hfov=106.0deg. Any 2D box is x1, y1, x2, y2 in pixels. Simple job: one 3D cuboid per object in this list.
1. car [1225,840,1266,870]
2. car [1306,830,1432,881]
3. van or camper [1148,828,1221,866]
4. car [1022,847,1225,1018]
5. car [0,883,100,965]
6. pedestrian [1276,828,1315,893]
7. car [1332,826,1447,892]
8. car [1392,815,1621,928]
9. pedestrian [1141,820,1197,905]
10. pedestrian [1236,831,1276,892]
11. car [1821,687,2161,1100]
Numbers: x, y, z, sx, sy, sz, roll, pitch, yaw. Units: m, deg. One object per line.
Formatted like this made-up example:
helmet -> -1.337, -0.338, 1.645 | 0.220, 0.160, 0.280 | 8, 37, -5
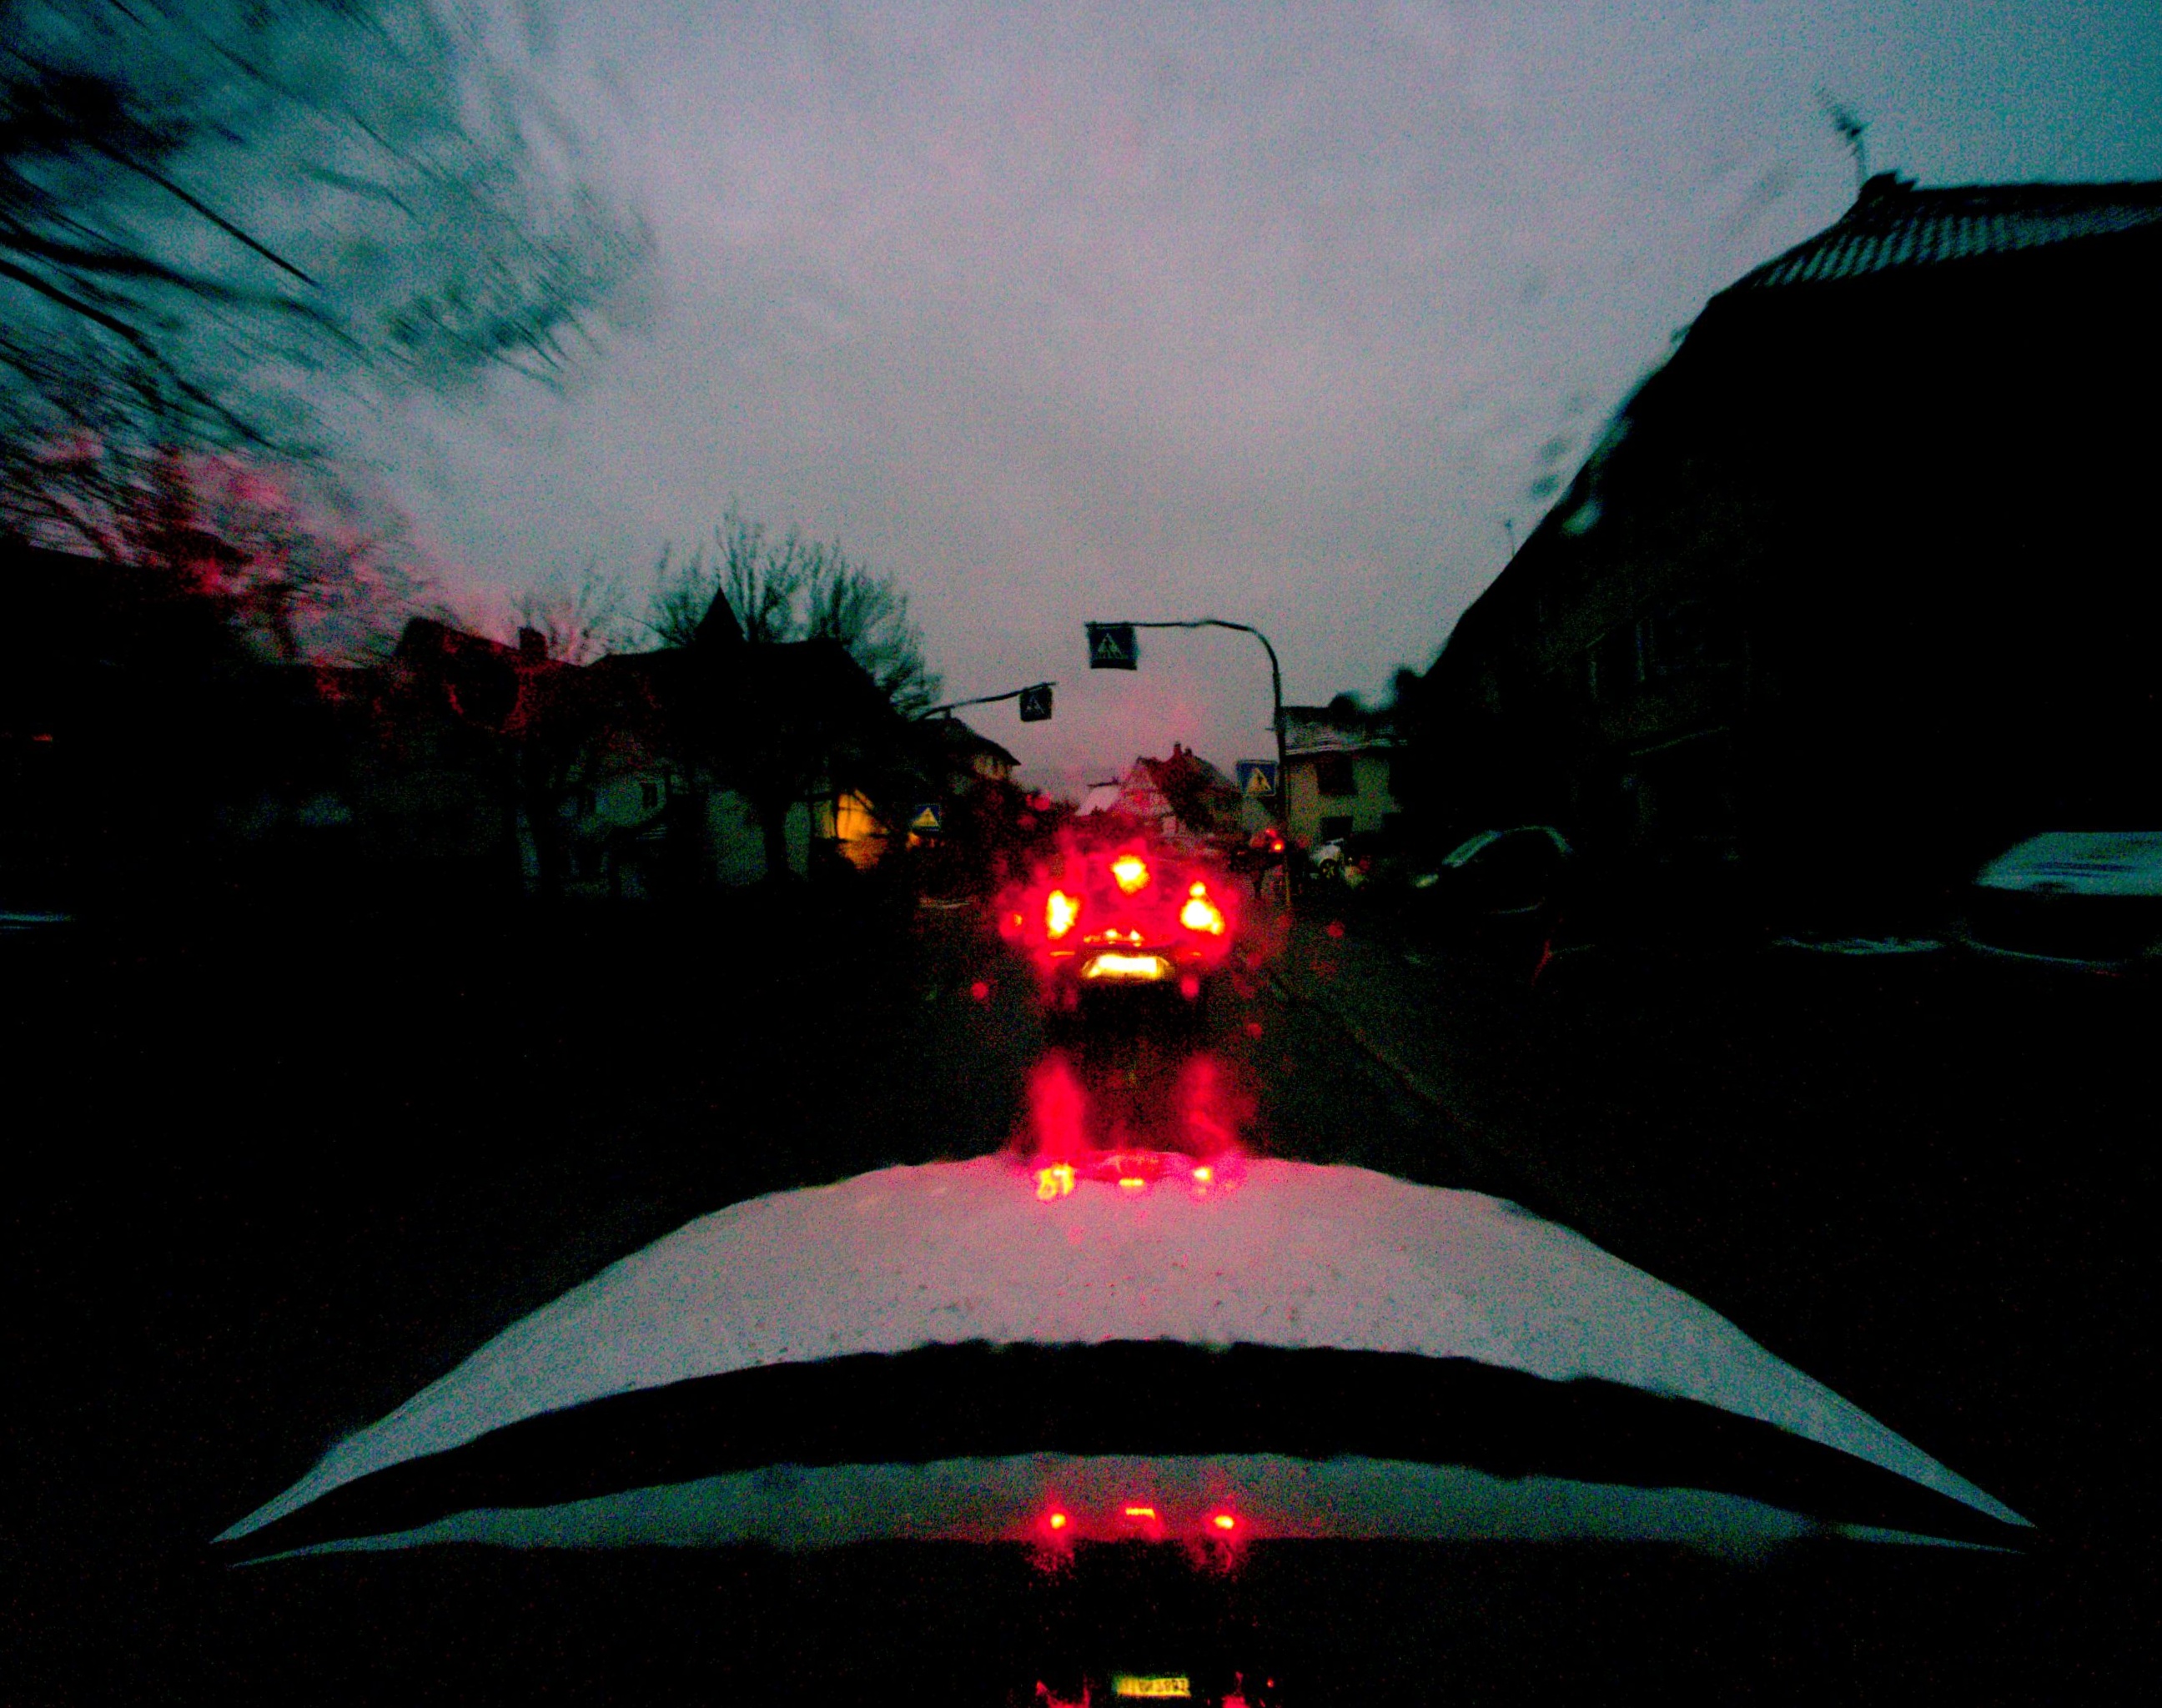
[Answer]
car -> 9.689, 0.048, 47.762 | 1.833, 1.637, 4.356 | -1, 0, 18
car -> 9.928, 0.039, 28.359 | 3.872, 1.474, 1.757 | -4, 0, 13
van or camper -> 9.588, -0.657, 75.319 | 6.004, 2.955, 2.420 | -6, -1, 26
car -> 0.329, 0.679, 9.243 | 1.790, 1.476, 3.997 | -1, 0, -2
car -> -24.325, 1.508, 18.121 | 3.574, 1.612, 1.719 | 0, 1, 13
pedestrian -> 6.105, 0.175, 23.142 | 0.841, 1.733, 0.976 | -5, -1, 18
car -> 8.160, 0.129, 21.733 | 2.566, 1.547, 1.556 | -4, 0, 10
car -> 6.397, 0.266, 12.489 | 2.745, 1.474, 1.431 | -4, 0, 11
pedestrian -> 1.935, 0.172, 17.748 | 0.872, 1.735, 0.960 | -5, -1, 18
pedestrian -> 5.050, 0.206, 23.431 | 0.860, 1.666, 0.997 | -5, -1, 18
car -> 7.442, -0.009, 4.251 | 4.949, 1.889, 1.943 | -4, 0, 11
